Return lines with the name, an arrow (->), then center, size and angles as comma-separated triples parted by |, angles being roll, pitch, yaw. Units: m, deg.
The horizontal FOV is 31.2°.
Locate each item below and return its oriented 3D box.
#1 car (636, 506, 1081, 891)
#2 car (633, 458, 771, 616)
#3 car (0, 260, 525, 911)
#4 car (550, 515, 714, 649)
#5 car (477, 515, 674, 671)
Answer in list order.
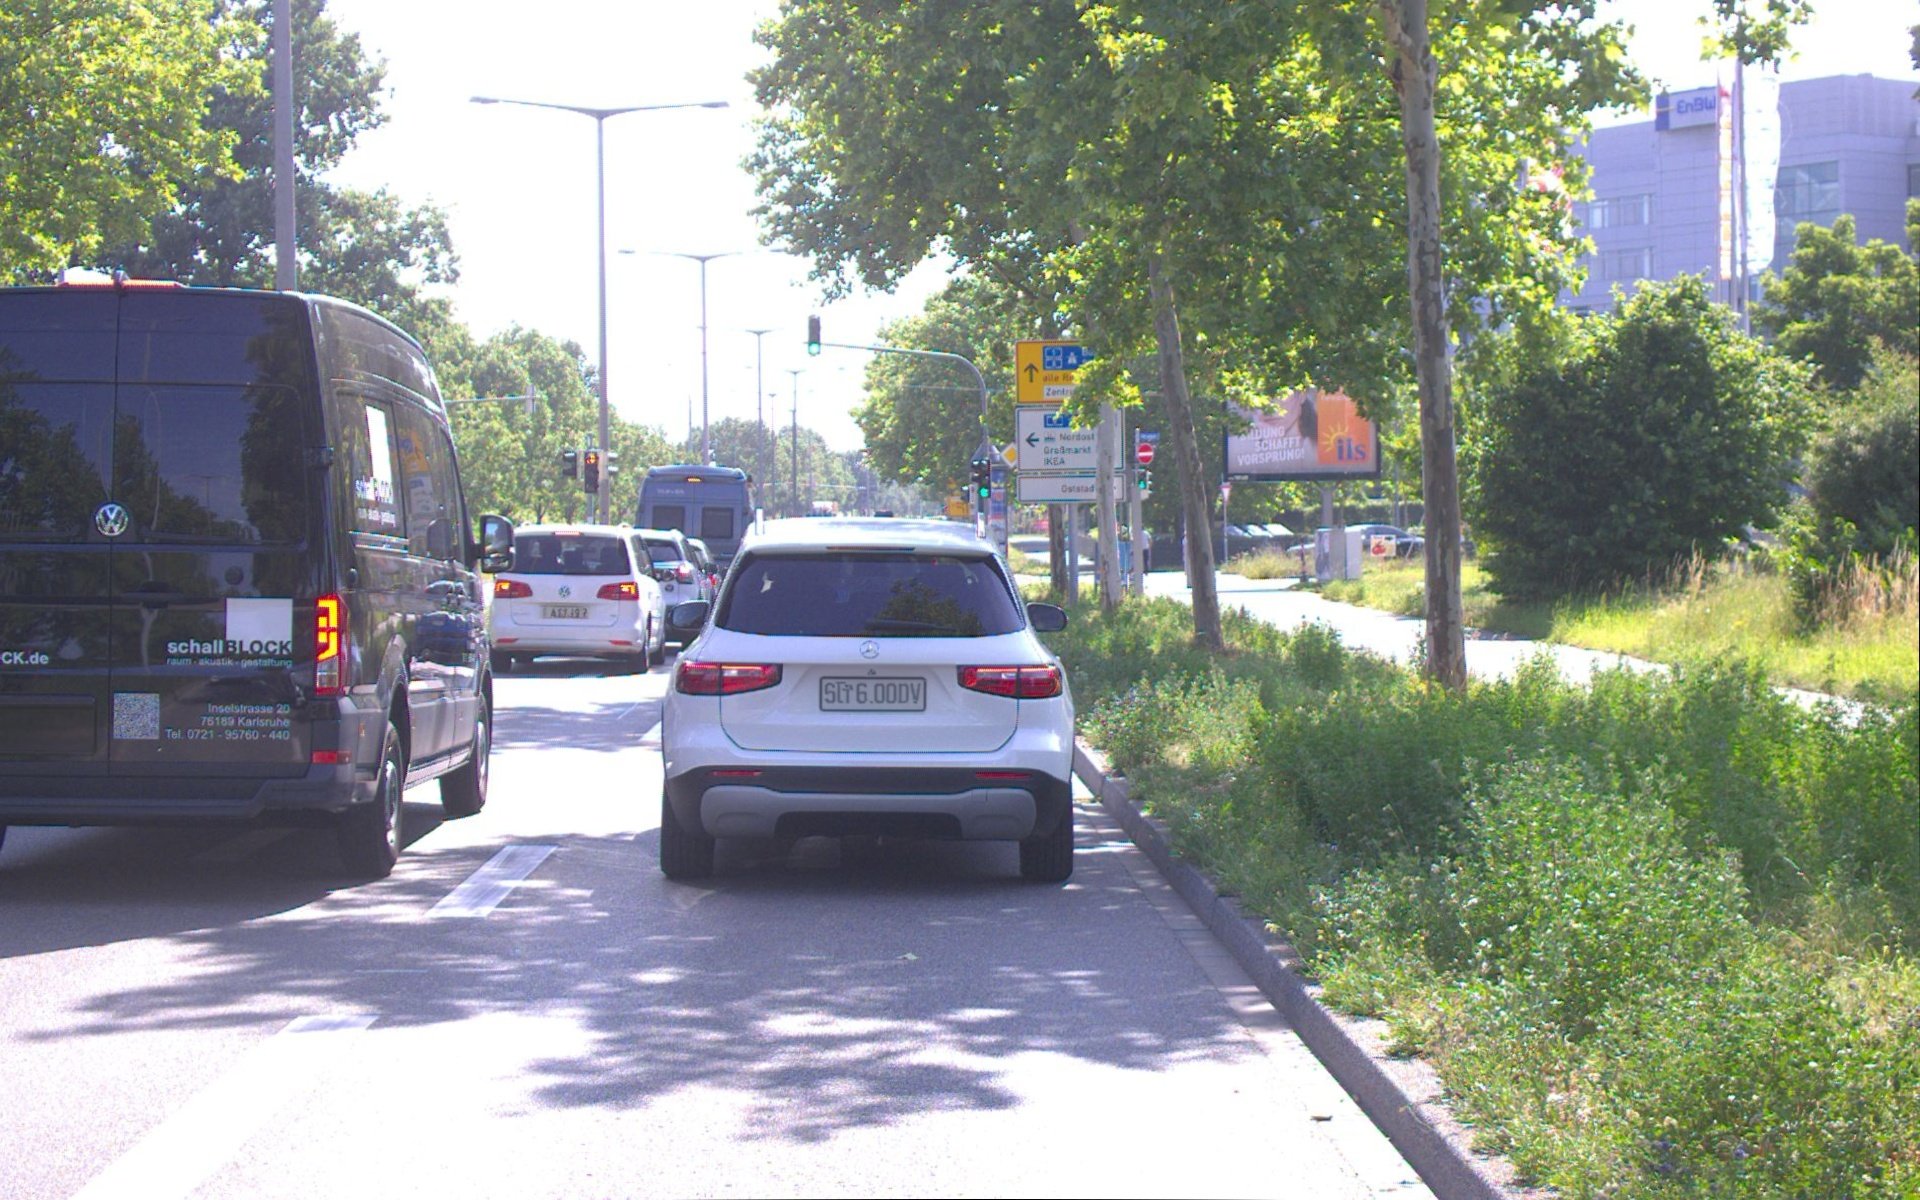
car -> -0.453, 0.378, 16.447 | 1.853, 1.602, 4.000 | -1, 1, -1
car -> -4.522, -1.109, 60.879 | 2.081, 2.647, 4.874 | 1, 1, -1
car -> -3.511, -0.107, 16.886 | 2.016, 2.598, 6.169 | 1, 1, -1
car -> -4.217, -0.253, 44.752 | 1.771, 1.641, 4.085 | 1, 1, -1
car -> -4.277, -0.108, 38.803 | 1.771, 1.641, 4.352 | 1, 1, -1
